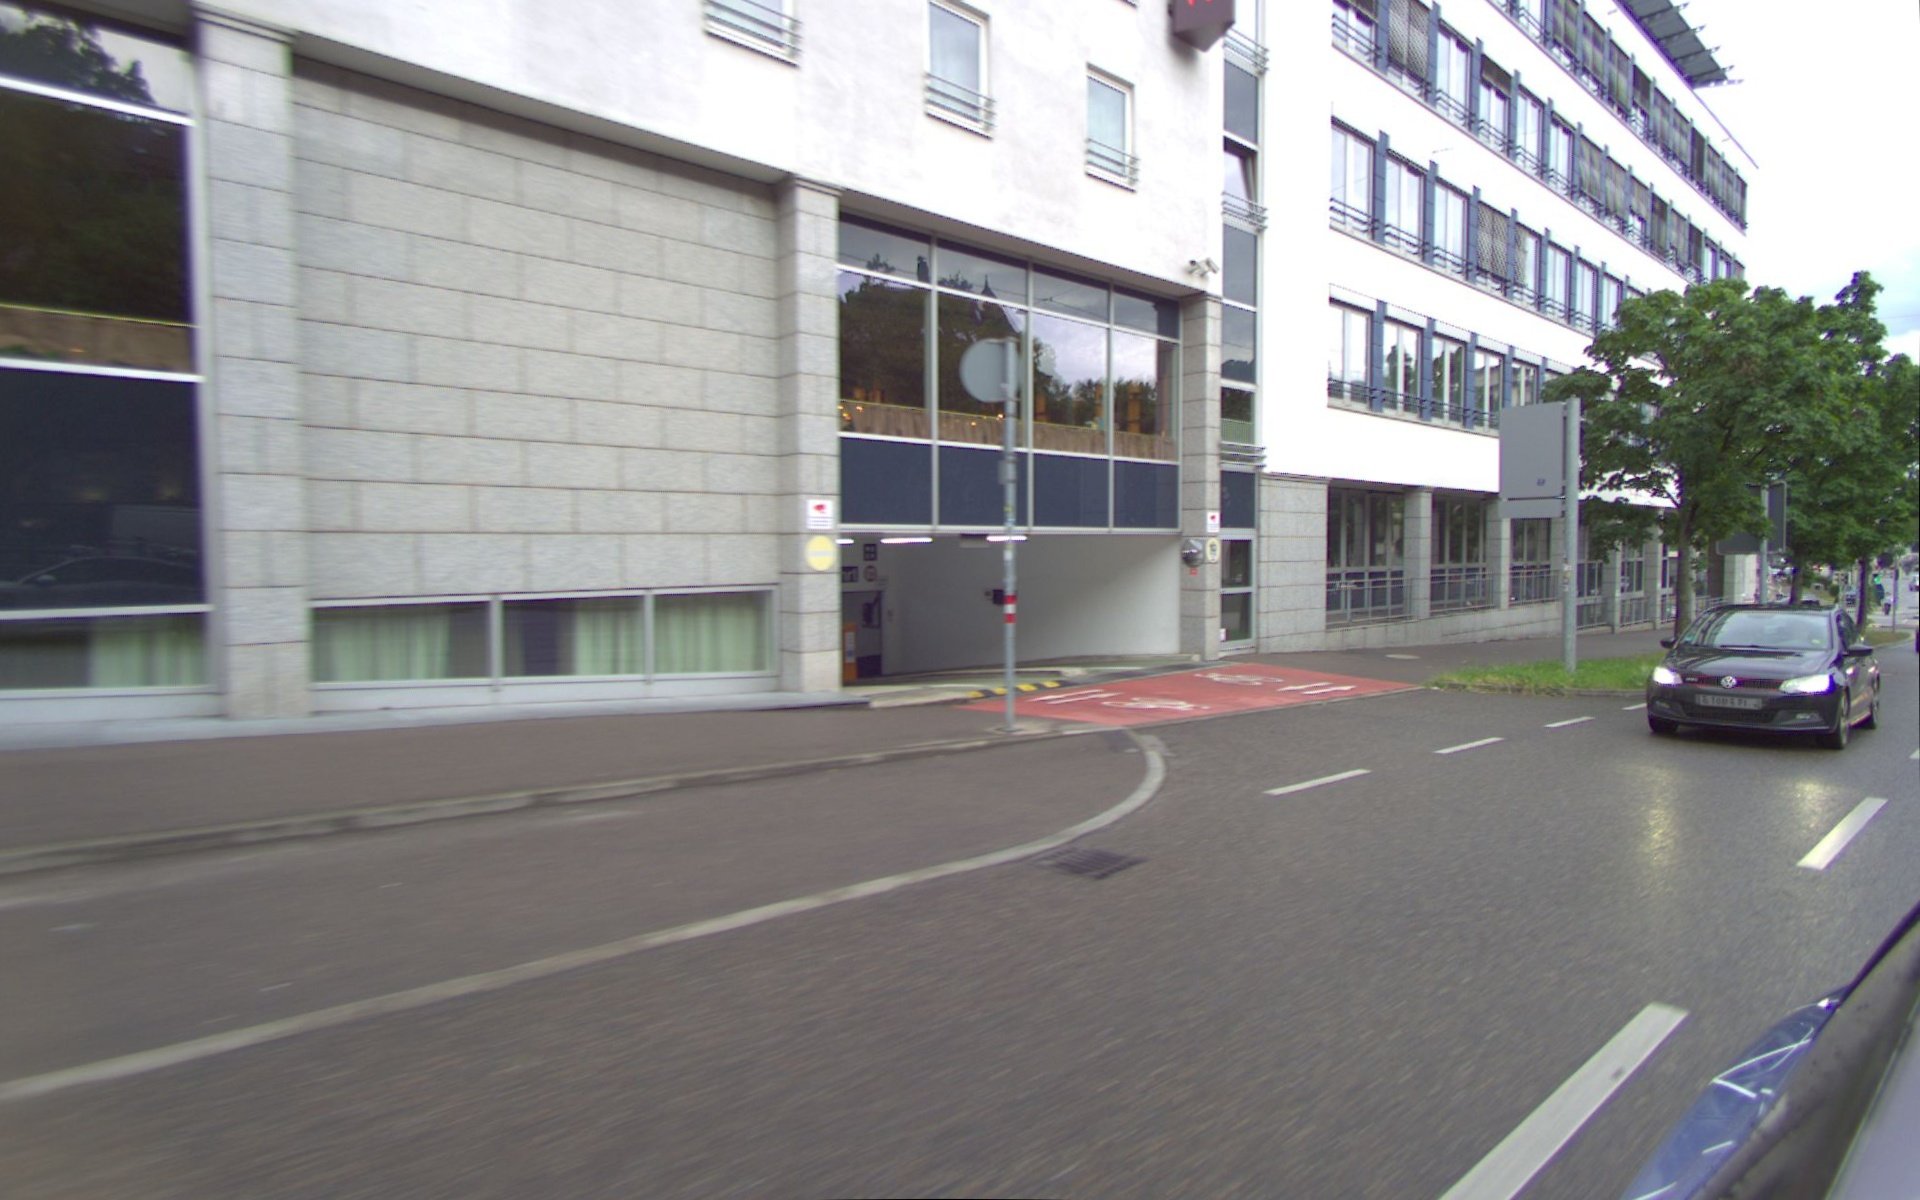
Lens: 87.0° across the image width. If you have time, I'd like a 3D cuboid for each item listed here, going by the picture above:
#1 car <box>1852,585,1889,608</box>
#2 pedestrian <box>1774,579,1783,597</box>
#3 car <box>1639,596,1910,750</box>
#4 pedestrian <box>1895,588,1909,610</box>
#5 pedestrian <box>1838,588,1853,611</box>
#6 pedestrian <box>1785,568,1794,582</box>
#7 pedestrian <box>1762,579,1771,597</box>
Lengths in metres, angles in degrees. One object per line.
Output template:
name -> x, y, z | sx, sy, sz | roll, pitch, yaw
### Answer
car -> 78.810, -0.311, 87.595 | 4.216, 1.885, 1.797 | -1, 1, -40
pedestrian -> 72.683, -1.080, 89.866 | 0.584, 1.629, 0.597 | 0, 0, 35
car -> 9.203, 0.692, 11.335 | 3.780, 1.417, 1.677 | 0, 0, -40
pedestrian -> 65.263, -0.091, 70.103 | 0.582, 1.496, 0.598 | -1, 0, 28
pedestrian -> 62.044, -0.044, 70.894 | 0.633, 1.645, 0.707 | -1, 0, -39
pedestrian -> 87.444, -2.658, 106.670 | 0.582, 1.496, 0.598 | -1, 0, 28
pedestrian -> 71.994, -1.082, 90.377 | 0.584, 1.629, 0.597 | 0, 0, 35
